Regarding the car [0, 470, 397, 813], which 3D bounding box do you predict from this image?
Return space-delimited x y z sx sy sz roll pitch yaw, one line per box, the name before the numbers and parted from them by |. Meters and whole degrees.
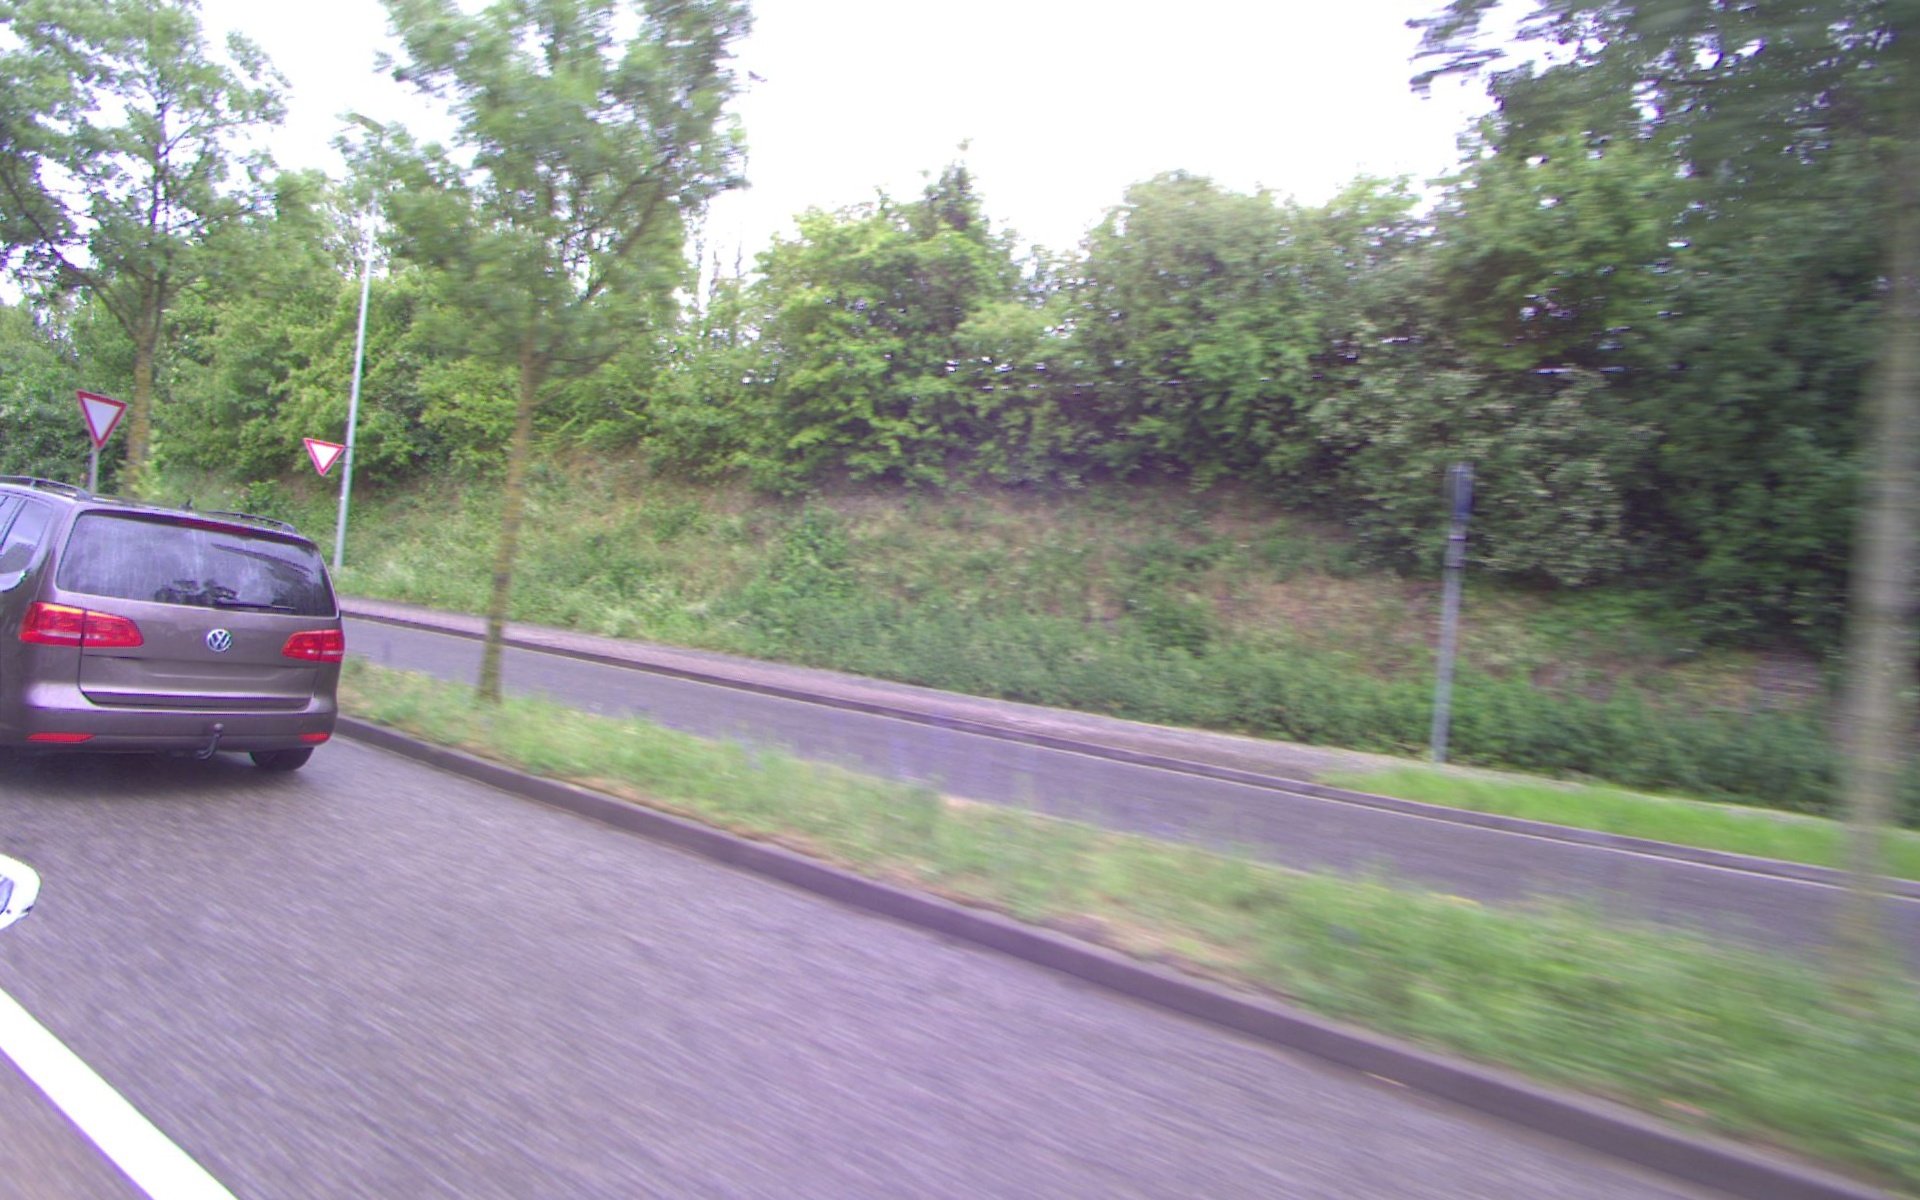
car | -5.745 0.095 6.535 4.061 1.615 1.717 6 -2 31
